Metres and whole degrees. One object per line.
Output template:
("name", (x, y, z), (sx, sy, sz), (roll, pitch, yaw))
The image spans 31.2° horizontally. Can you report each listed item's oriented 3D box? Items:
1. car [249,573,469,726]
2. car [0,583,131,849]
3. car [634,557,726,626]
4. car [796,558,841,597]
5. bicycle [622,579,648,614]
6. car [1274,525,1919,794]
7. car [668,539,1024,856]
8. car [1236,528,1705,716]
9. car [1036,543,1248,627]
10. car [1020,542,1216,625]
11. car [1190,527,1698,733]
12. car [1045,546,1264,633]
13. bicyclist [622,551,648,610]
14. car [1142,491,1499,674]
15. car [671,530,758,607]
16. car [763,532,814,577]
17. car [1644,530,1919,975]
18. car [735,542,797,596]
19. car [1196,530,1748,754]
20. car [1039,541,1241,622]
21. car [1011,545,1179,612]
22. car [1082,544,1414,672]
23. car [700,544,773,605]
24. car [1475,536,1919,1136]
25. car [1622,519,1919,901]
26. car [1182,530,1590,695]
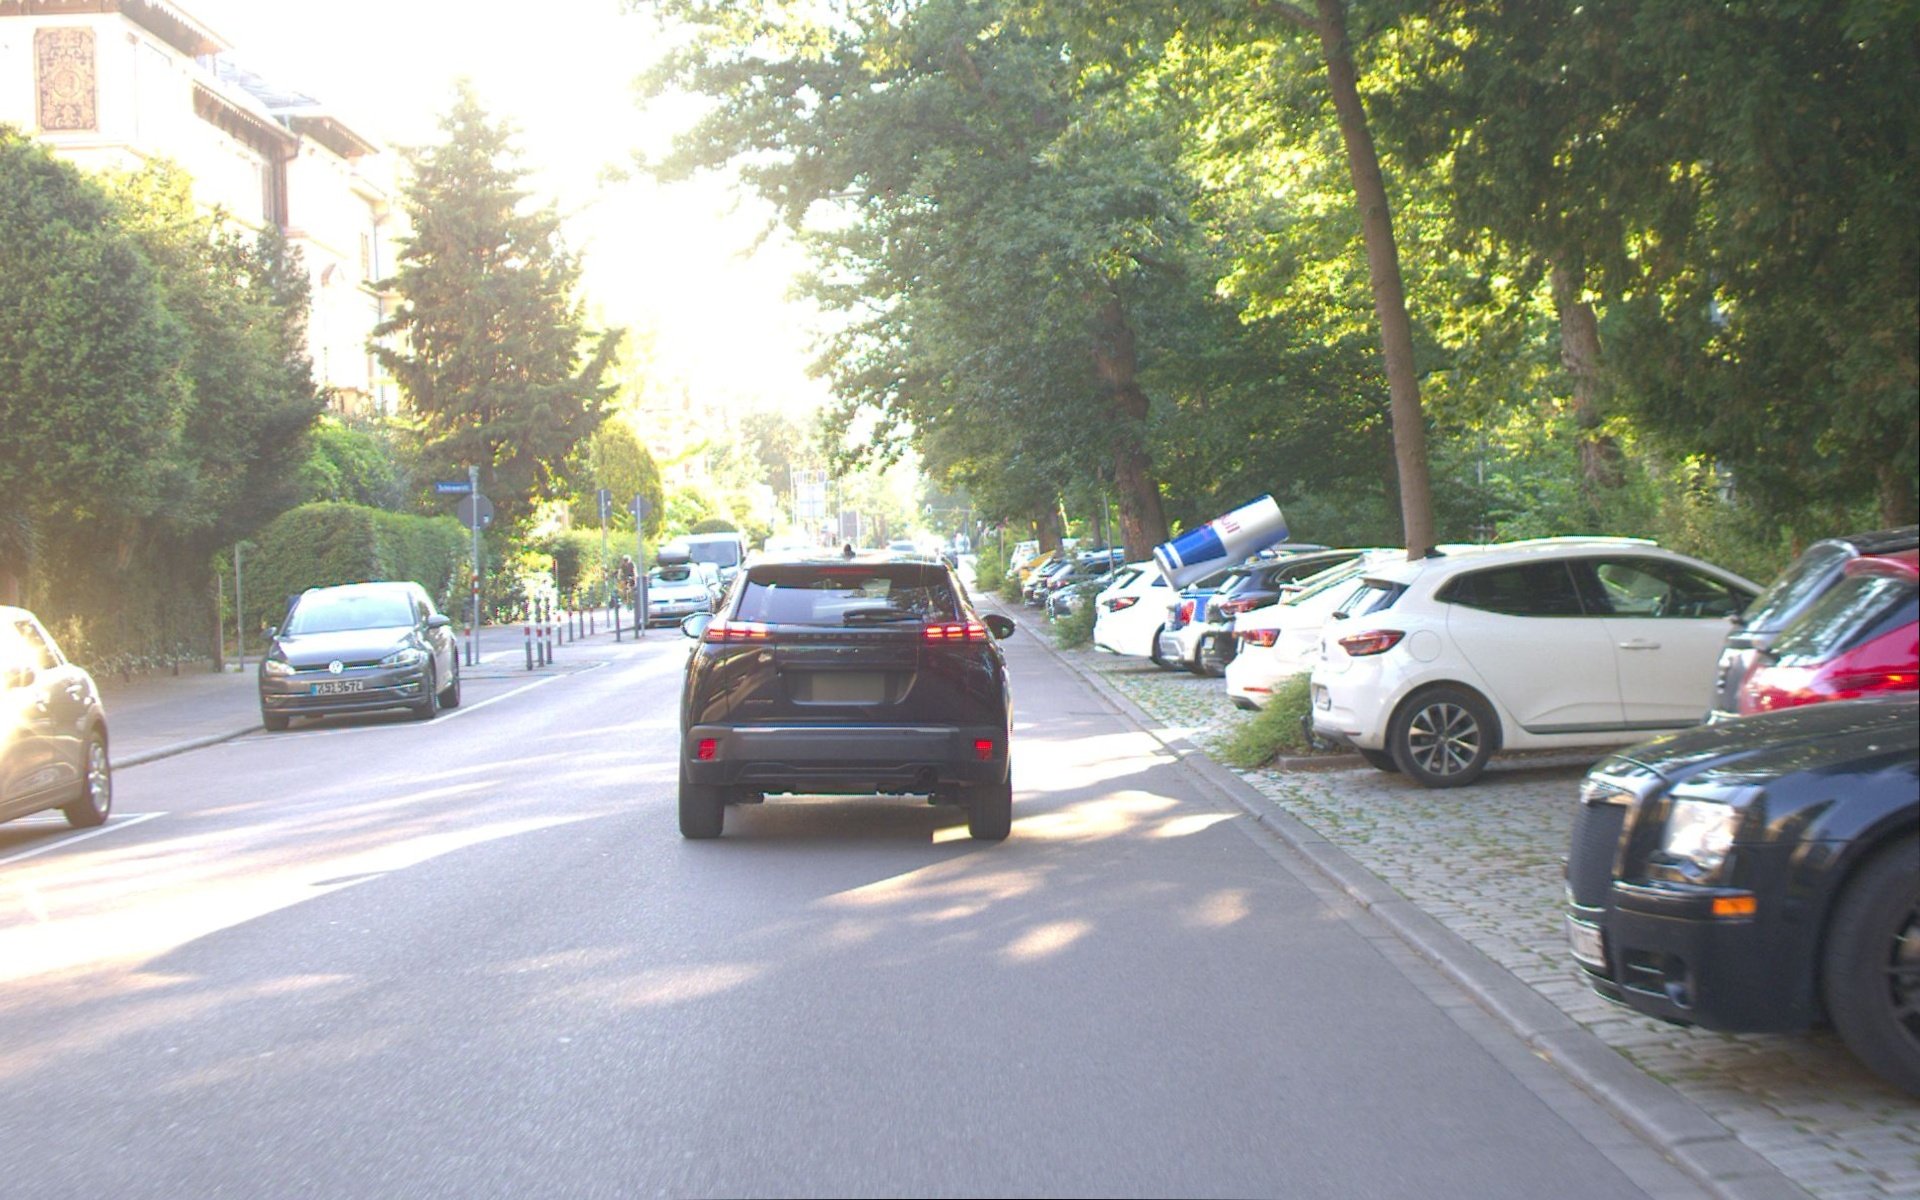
("car", (-6.392, 0.493, 36.921), (1.752, 1.409, 3.765), (-4, 1, -2))
("car", (-6.200, 0.676, 20.246), (1.613, 1.461, 4.036), (-2, 1, 0))
("car", (-6.681, -0.217, 82.225), (1.899, 1.568, 4.000), (-1, 1, -1))
("car", (-6.695, -1.084, 163.335), (1.993, 1.809, 4.000), (-1, 1, -1))
("bicycle", (-9.821, -0.122, 104.007), (0.691, 1.012, 2.049), (-1, 1, -4))
("car", (4.077, 0.350, 21.932), (3.807, 1.444, 1.826), (-3, 1, -4))
("car", (-0.632, 0.459, 19.442), (1.771, 1.563, 4.109), (1, 1, -2))
("car", (4.707, 0.184, 32.028), (3.986, 1.619, 1.758), (-1, 1, -5))
("car", (3.497, -0.304, 66.578), (3.987, 1.520, 1.758), (-1, 1, 1))
("car", (3.264, -0.355, 71.651), (3.987, 1.618, 1.758), (-1, 1, 1))
("car", (4.102, 0.232, 29.476), (3.986, 1.619, 1.758), (-1, 1, -5))
("car", (3.593, -0.203, 64.011), (3.987, 1.520, 1.758), (-1, 1, 1))
("bicyclist", (-9.834, -0.591, 104.039), (0.693, 1.786, 0.773), (-1, 1, -3))
("car", (4.318, -0.221, 41.499), (3.986, 2.082, 1.758), (-1, 1, -5))
("car", (-6.600, -0.866, 92.845), (1.993, 2.007, 4.000), (-1, 1, 1))
("car", (-7.166, -1.913, 143.906), (1.993, 1.809, 4.000), (-1, 1, -1))
("car", (4.645, 0.413, 12.484), (3.807, 1.444, 1.877), (-3, 1, -4))
("car", (-6.776, -1.088, 120.501), (1.993, 1.809, 4.000), (-1, 1, -1))
("car", (3.996, 0.305, 27.204), (3.986, 1.619, 1.758), (-1, 1, -5))
("car", (3.612, -0.376, 69.407), (3.987, 1.520, 1.758), (-1, 1, 1))
("car", (3.252, -0.535, 83.229), (3.987, 1.520, 1.758), (-1, 1, 1))
("car", (3.675, 0.087, 44.307), (3.986, 1.520, 1.758), (-1, 1, -5))
("car", (-6.793, -0.785, 104.719), (1.993, 1.762, 4.000), (-1, 1, -1))
("car", (3.785, 0.496, 9.683), (4.242, 1.444, 2.022), (-3, 1, -2))
("car", (5.039, 0.361, 14.994), (3.807, 1.505, 1.826), (-3, 1, -4))
("car", (4.493, 0.114, 36.587), (3.986, 1.619, 1.758), (-1, 1, -5))
